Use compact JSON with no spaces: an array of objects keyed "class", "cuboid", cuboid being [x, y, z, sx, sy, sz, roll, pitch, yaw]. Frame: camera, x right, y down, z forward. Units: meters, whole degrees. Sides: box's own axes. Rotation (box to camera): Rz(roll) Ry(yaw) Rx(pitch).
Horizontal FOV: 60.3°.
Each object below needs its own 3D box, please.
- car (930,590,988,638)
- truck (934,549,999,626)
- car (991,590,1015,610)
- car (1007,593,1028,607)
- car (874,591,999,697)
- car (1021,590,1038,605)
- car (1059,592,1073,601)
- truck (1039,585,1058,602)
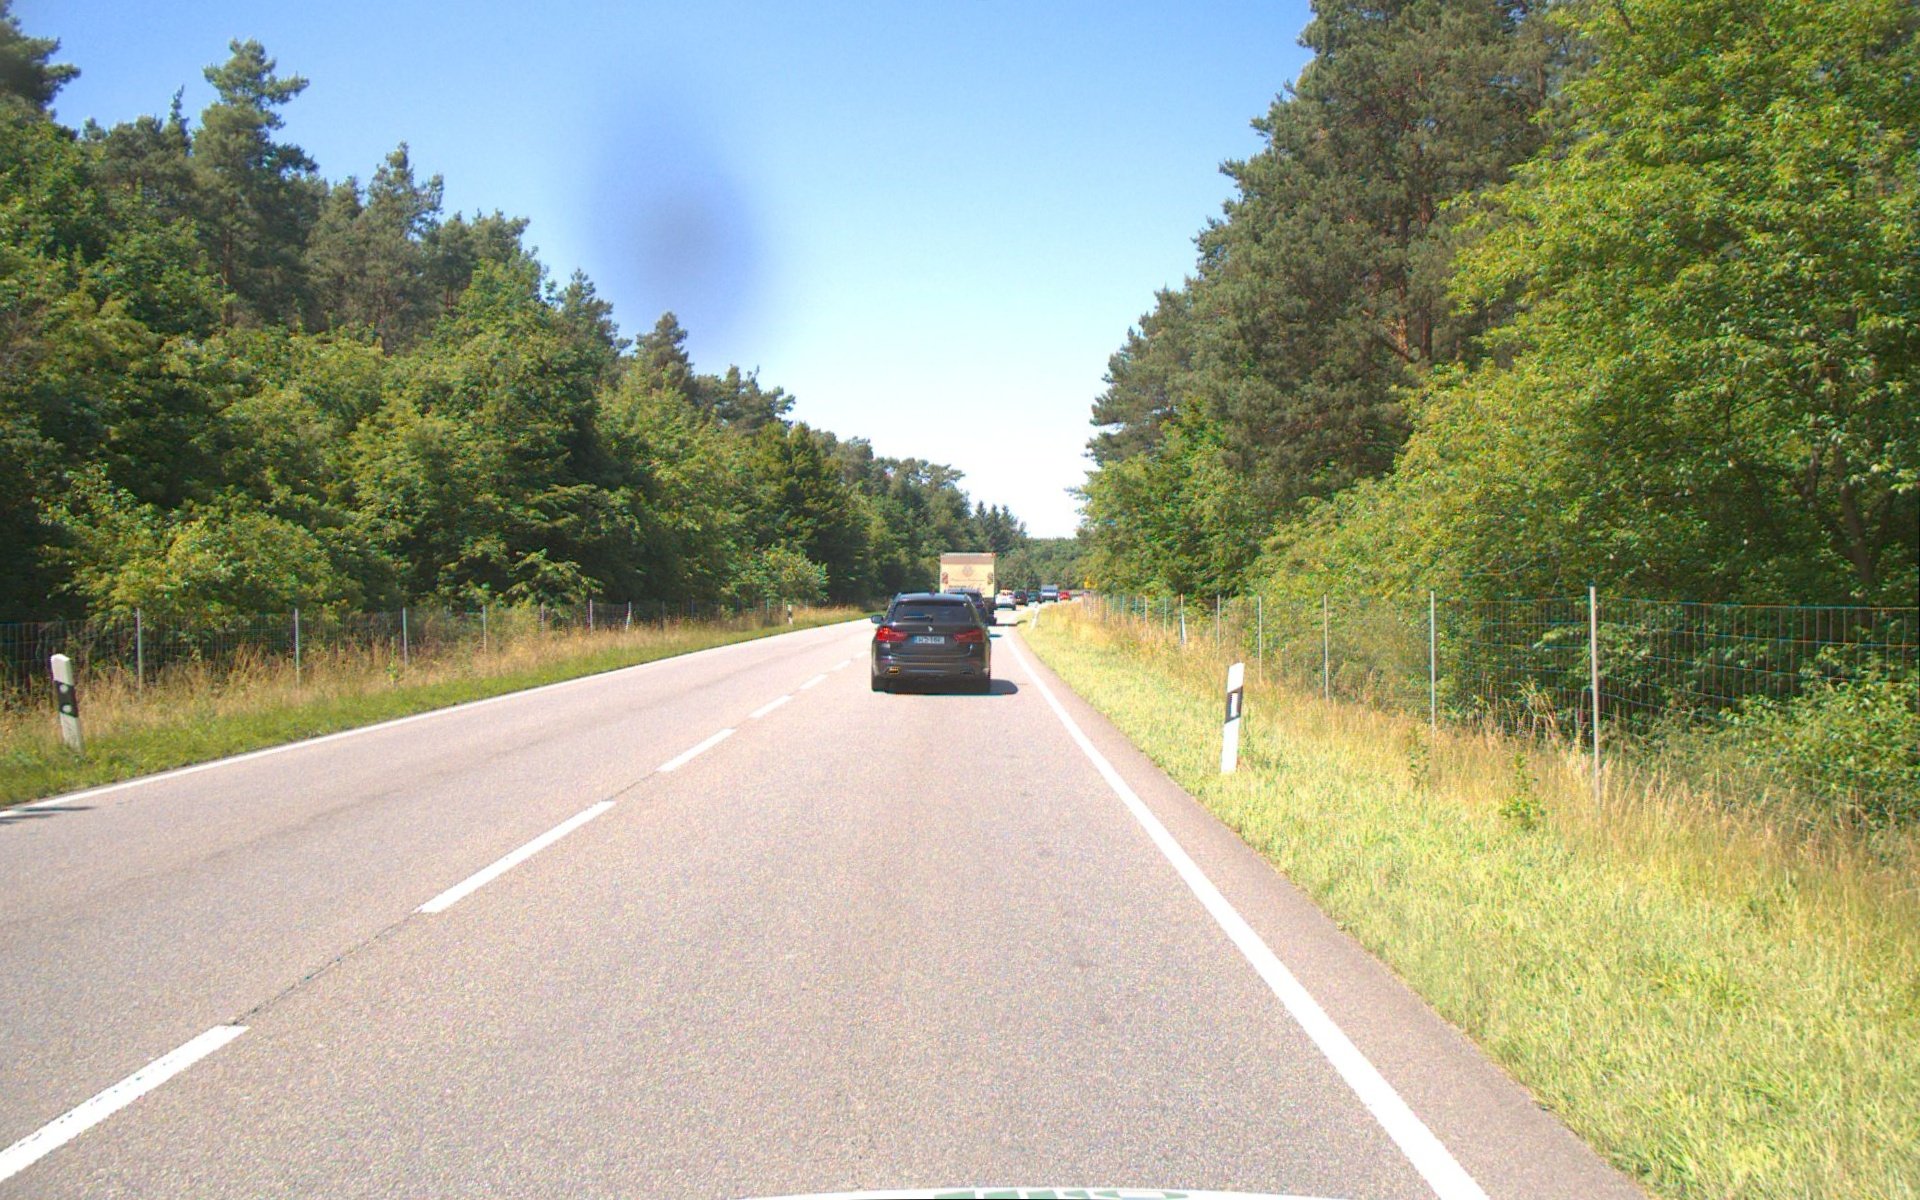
[{"class":"car","cuboid":[-0.060,0.455,57.702,1.908,1.568,3.999,-1,0,-1]},{"class":"truck","cuboid":[0.359,-0.577,77.428,2.904,3.447,6.439,0,0,1]},{"class":"car","cuboid":[3.578,-0.018,138.757,1.825,1.633,3.999,-1,0,-1]},{"class":"car","cuboid":[5.946,-0.020,170.667,1.953,1.445,3.999,1,0,-1]},{"class":"car","cuboid":[-0.434,0.626,25.918,1.784,1.496,3.998,1,0,-3]},{"class":"car","cuboid":[8.470,-0.318,201.353,1.952,1.665,4.001,-1,0,2]},{"class":"car","cuboid":[16.727,-0.577,260.715,1.756,1.378,3.932,0,0,9]},{"class":"truck","cuboid":[12.110,-0.906,225.674,2.509,2.240,4.977,-1,1,5]}]
